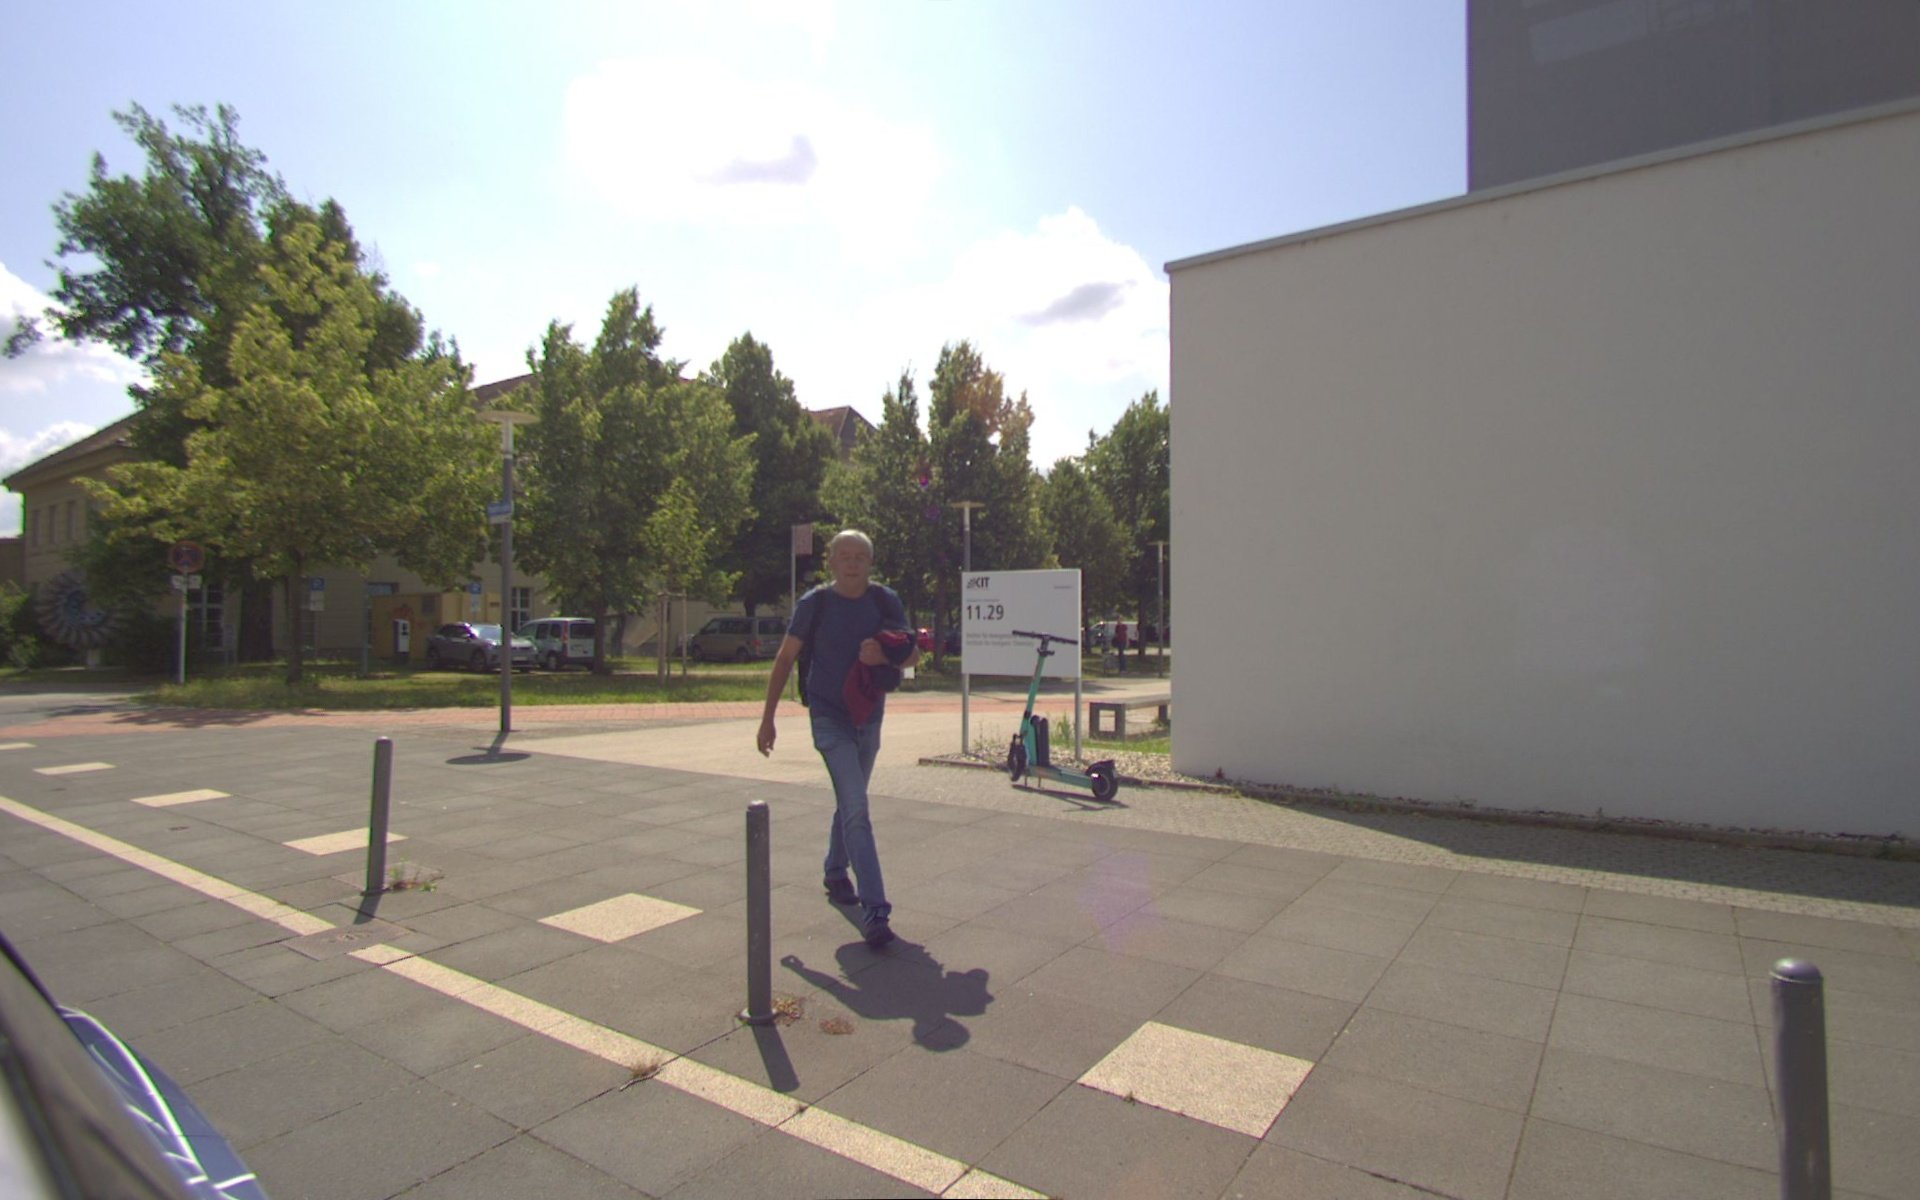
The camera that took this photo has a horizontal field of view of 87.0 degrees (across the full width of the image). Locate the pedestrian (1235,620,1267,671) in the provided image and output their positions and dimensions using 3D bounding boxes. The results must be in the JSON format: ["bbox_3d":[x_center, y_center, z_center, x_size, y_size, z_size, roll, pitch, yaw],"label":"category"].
[{"bbox_3d":[9.343,1.457,32.527,0.746,1.593,0.845,-2,-2,35],"label":"pedestrian"}]

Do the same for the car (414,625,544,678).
[{"bbox_3d":[-16.143,1.670,33.885,4.639,1.593,1.878,0,-1,35],"label":"car"}]

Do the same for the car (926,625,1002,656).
[{"bbox_3d":[0.235,2.345,58.683,4.115,1.679,1.791,0,-1,35],"label":"car"}]

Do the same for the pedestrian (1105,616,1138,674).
[{"bbox_3d":[5.364,1.475,33.678,0.657,1.906,0.857,1,-2,-38],"label":"pedestrian"}]

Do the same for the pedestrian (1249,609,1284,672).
[{"bbox_3d":[9.201,1.209,30.401,0.749,1.852,0.687,1,-2,-38],"label":"pedestrian"}]

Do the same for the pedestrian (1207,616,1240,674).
[{"bbox_3d":[7.865,1.332,30.200,0.747,1.710,0.877,-1,-2,31],"label":"pedestrian"}]

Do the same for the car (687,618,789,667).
[{"bbox_3d":[-9.551,1.784,43.348,4.522,1.975,1.789,0,-2,39],"label":"car"}]

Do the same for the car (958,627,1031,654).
[{"bbox_3d":[2.092,2.434,61.789,4.115,1.553,1.791,0,-1,35],"label":"car"}]

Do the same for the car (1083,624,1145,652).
[{"bbox_3d":[11.315,2.763,74.513,4.115,1.958,1.791,0,-1,35],"label":"car"}]

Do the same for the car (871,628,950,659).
[{"bbox_3d":[-2.697,2.322,54.878,4.119,1.553,1.789,0,-2,38],"label":"car"}]

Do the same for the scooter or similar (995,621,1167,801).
[{"bbox_3d":[0.901,0.800,7.790,0.476,1.272,1.315,1,-2,-42],"label":"scooter or similar"}]

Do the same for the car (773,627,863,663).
[{"bbox_3d":[-6.692,2.078,47.555,4.115,1.553,1.791,0,-1,35],"label":"car"}]

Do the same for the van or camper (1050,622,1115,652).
[{"bbox_3d":[8.301,2.482,68.681,4.073,1.900,1.791,0,-1,35],"label":"van or camper"}]

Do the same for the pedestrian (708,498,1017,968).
[{"bbox_3d":[-0.436,0.532,4.606,1.140,1.831,0.817,-1,-2,30],"label":"pedestrian"}]

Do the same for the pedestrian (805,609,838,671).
[{"bbox_3d":[-4.171,1.190,30.538,0.858,1.800,0.638,2,2,-13],"label":"pedestrian"}]

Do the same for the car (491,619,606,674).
[{"bbox_3d":[-14.611,1.606,35.888,4.115,1.799,1.791,0,-1,35],"label":"car"}]
